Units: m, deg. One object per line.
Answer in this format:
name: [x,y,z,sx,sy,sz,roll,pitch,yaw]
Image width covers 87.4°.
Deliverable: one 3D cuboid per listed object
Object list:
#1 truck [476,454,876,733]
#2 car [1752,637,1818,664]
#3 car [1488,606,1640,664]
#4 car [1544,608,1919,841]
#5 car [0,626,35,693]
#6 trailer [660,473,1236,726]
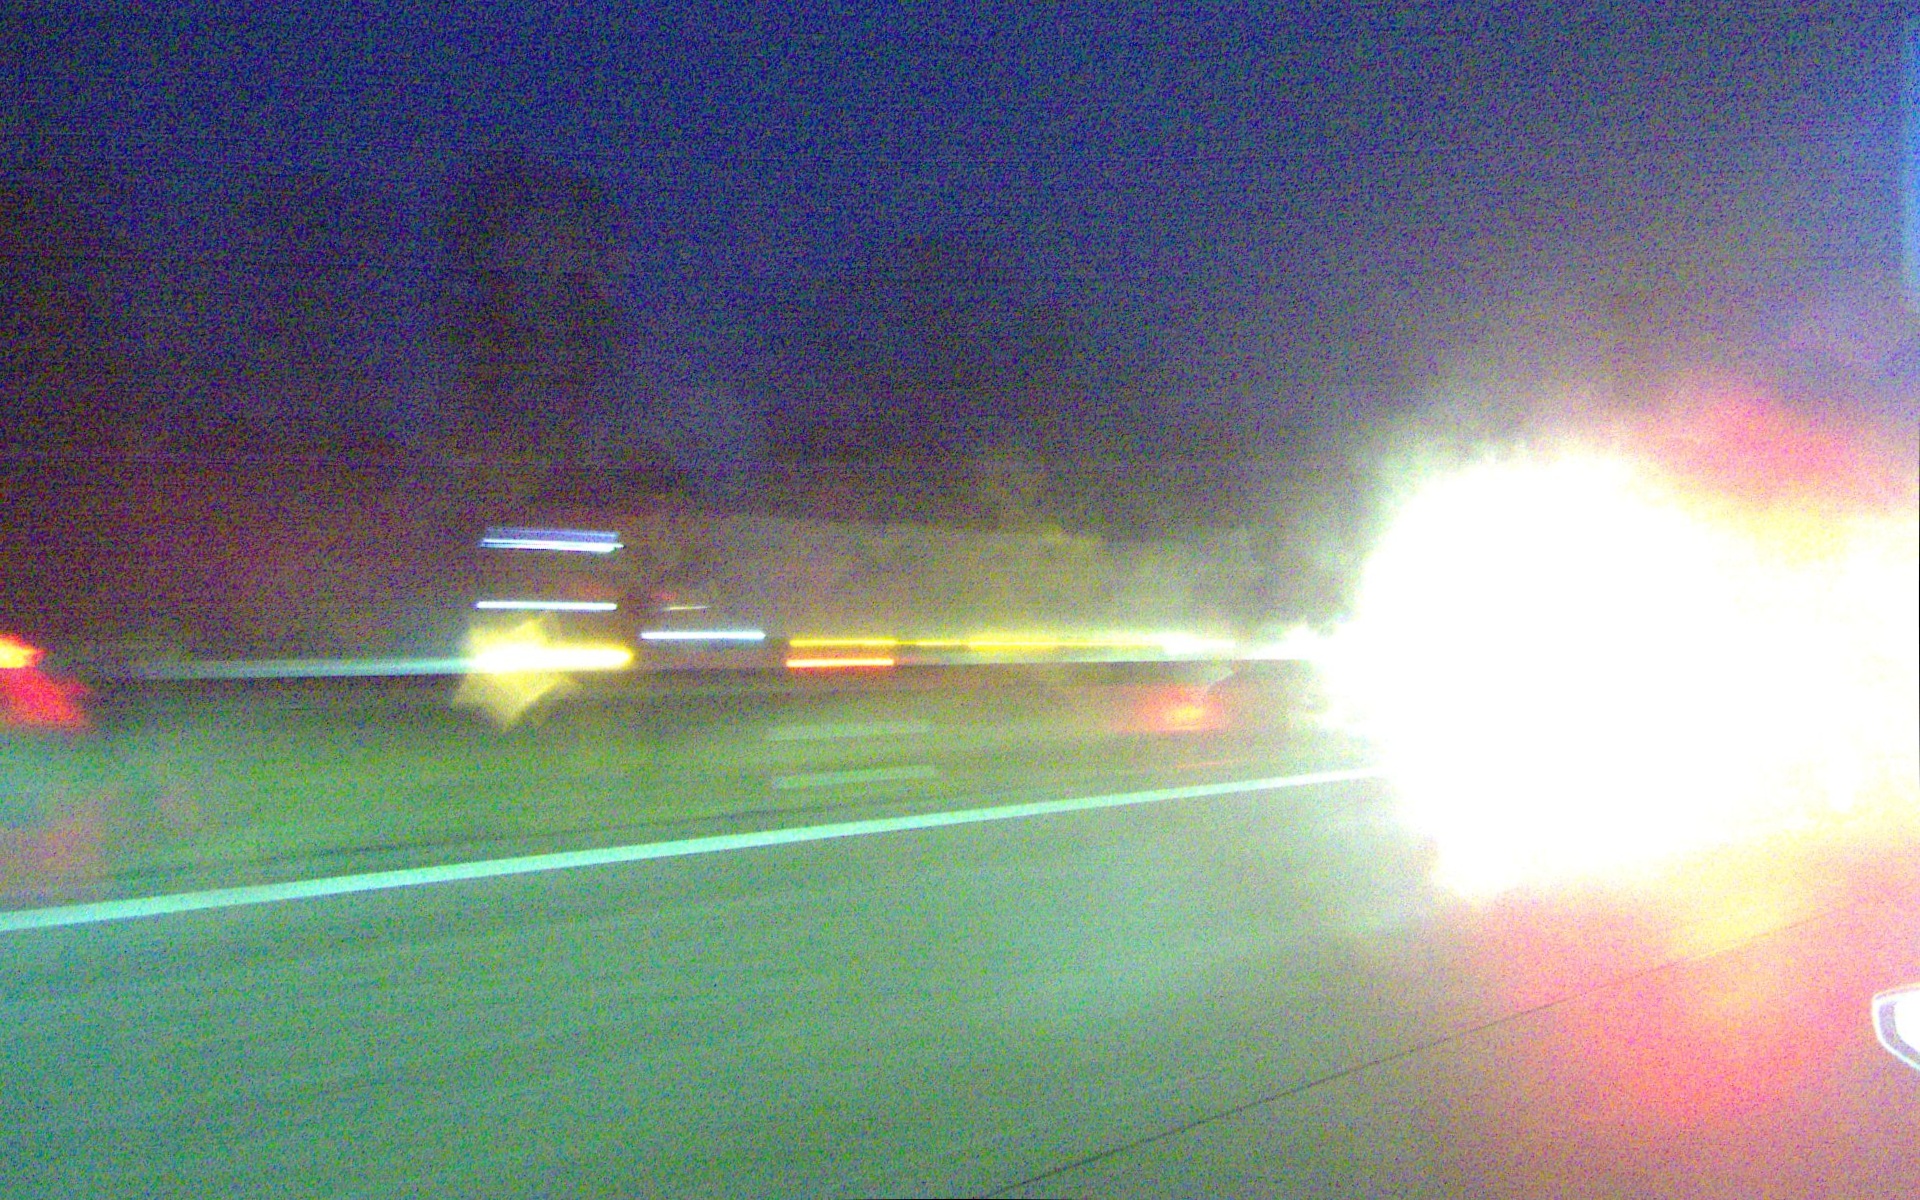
truck: [-5.740,0.049,20.825,7.488,4.912,2.910,2,-3,-30]
car: [45.361,2.732,55.205,3.956,1.361,1.642,1,0,-32]
car: [18.061,1.068,29.995,4.540,1.620,1.984,2,-2,-31]
car: [7.393,0.863,8.835,4.694,1.561,1.849,0,0,-30]
car: [-23.029,1.263,21.278,4.740,1.442,1.605,2,-4,-30]
trailer: [0.384,0.241,24.398,14.409,4.912,2.910,2,-3,-30]
